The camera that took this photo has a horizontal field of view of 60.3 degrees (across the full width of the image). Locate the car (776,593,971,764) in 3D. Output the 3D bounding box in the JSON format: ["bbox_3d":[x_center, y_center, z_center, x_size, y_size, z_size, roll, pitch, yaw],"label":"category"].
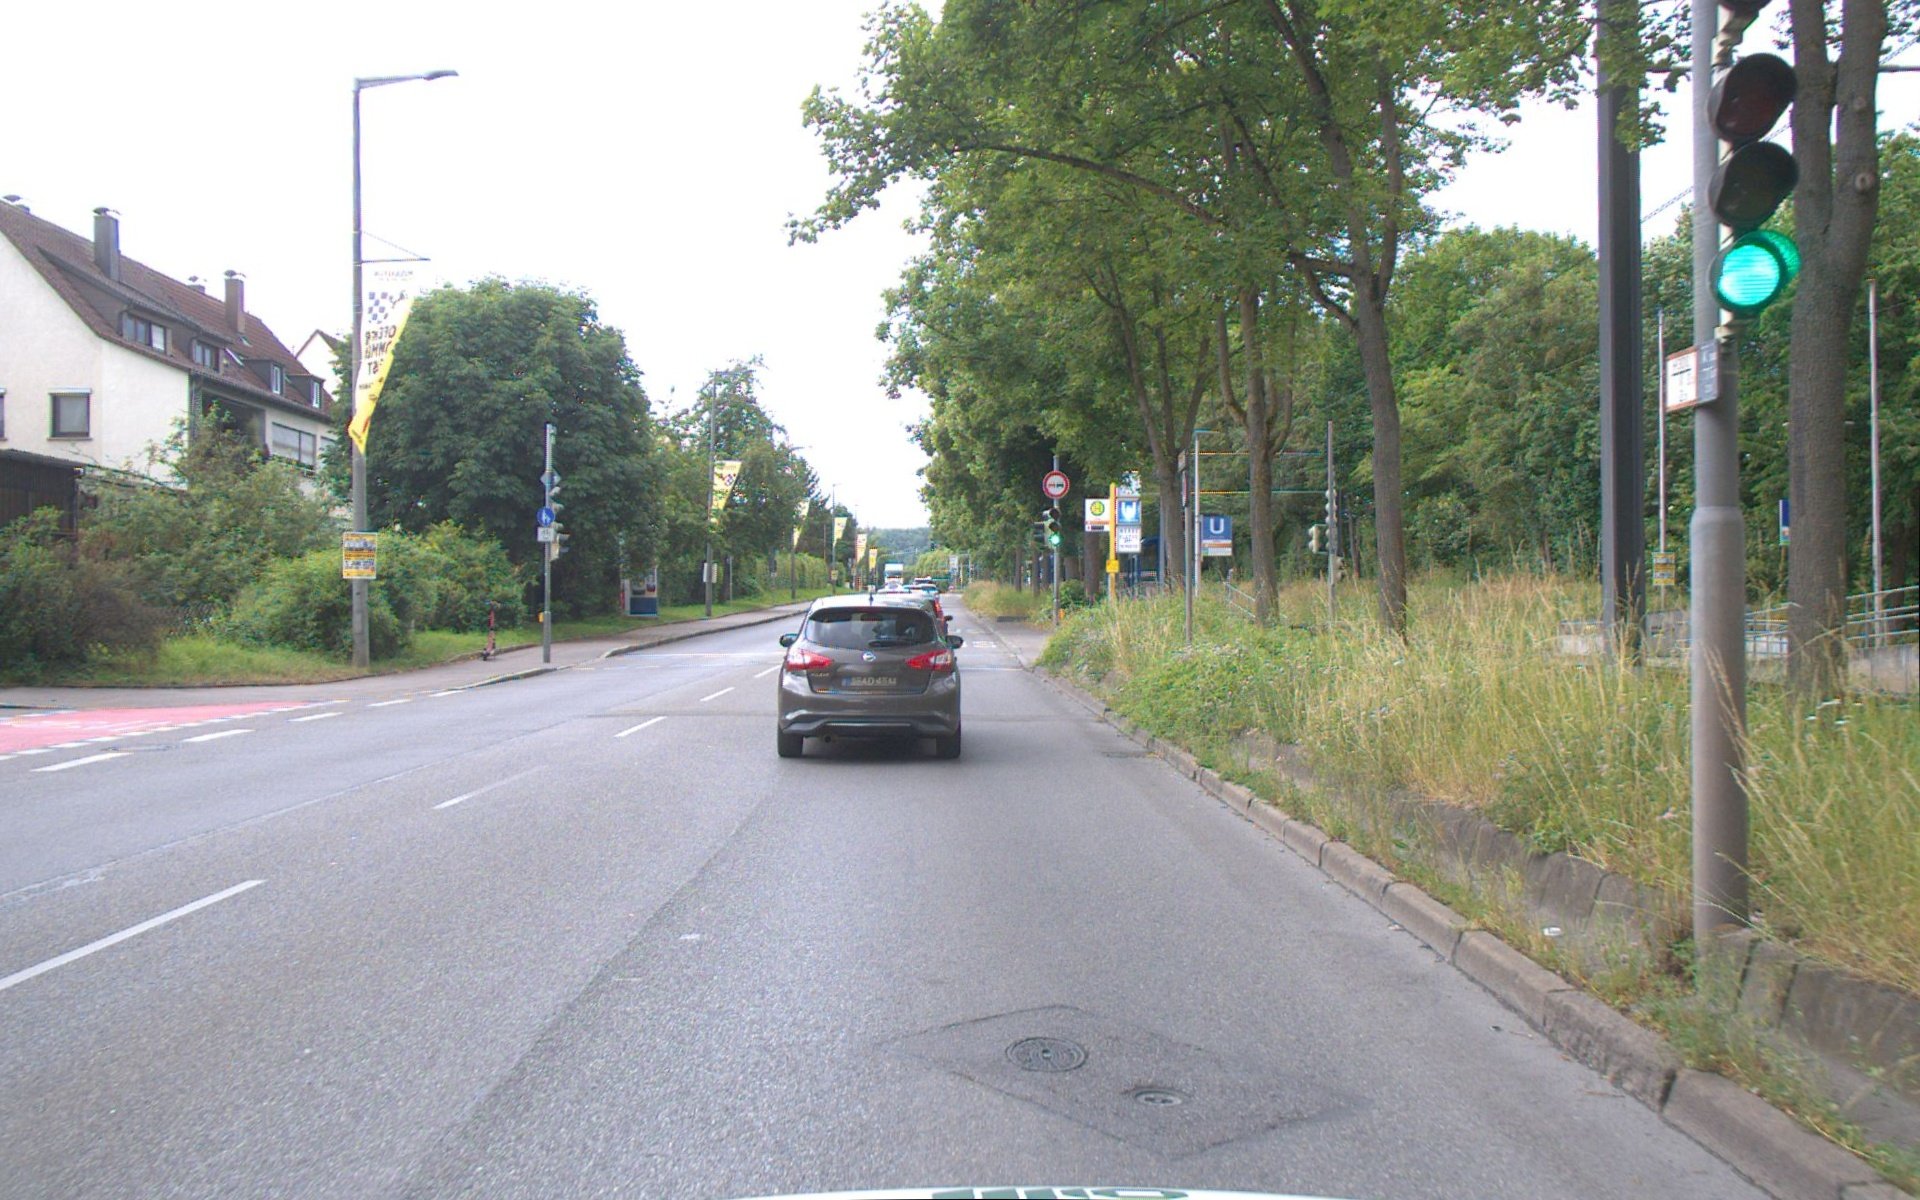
[{"bbox_3d":[-0.791,0.712,16.755,1.747,1.533,3.695,0,0,0],"label":"car"}]

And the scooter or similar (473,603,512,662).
[{"bbox_3d":[-10.412,0.710,36.839,0.453,1.281,1.426,0,0,0],"label":"scooter or similar"}]

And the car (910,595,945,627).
[{"bbox_3d":[-1.558,0.509,79.560,1.657,1.466,3.541,0,0,-1],"label":"car"}]

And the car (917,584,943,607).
[{"bbox_3d":[-1.990,-0.295,109.084,1.657,1.466,3.541,0,0,-1],"label":"car"}]

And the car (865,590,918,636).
[{"bbox_3d":[-2.240,0.408,54.501,1.657,1.466,3.541,0,0,-1],"label":"car"}]

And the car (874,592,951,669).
[{"bbox_3d":[-0.938,0.575,33.311,1.471,1.466,3.541,0,0,-1],"label":"car"}]

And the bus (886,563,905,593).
[{"bbox_3d":[-8.887,-3.024,229.208,2.437,4.096,10.215,0,0,-1],"label":"bus"}]
